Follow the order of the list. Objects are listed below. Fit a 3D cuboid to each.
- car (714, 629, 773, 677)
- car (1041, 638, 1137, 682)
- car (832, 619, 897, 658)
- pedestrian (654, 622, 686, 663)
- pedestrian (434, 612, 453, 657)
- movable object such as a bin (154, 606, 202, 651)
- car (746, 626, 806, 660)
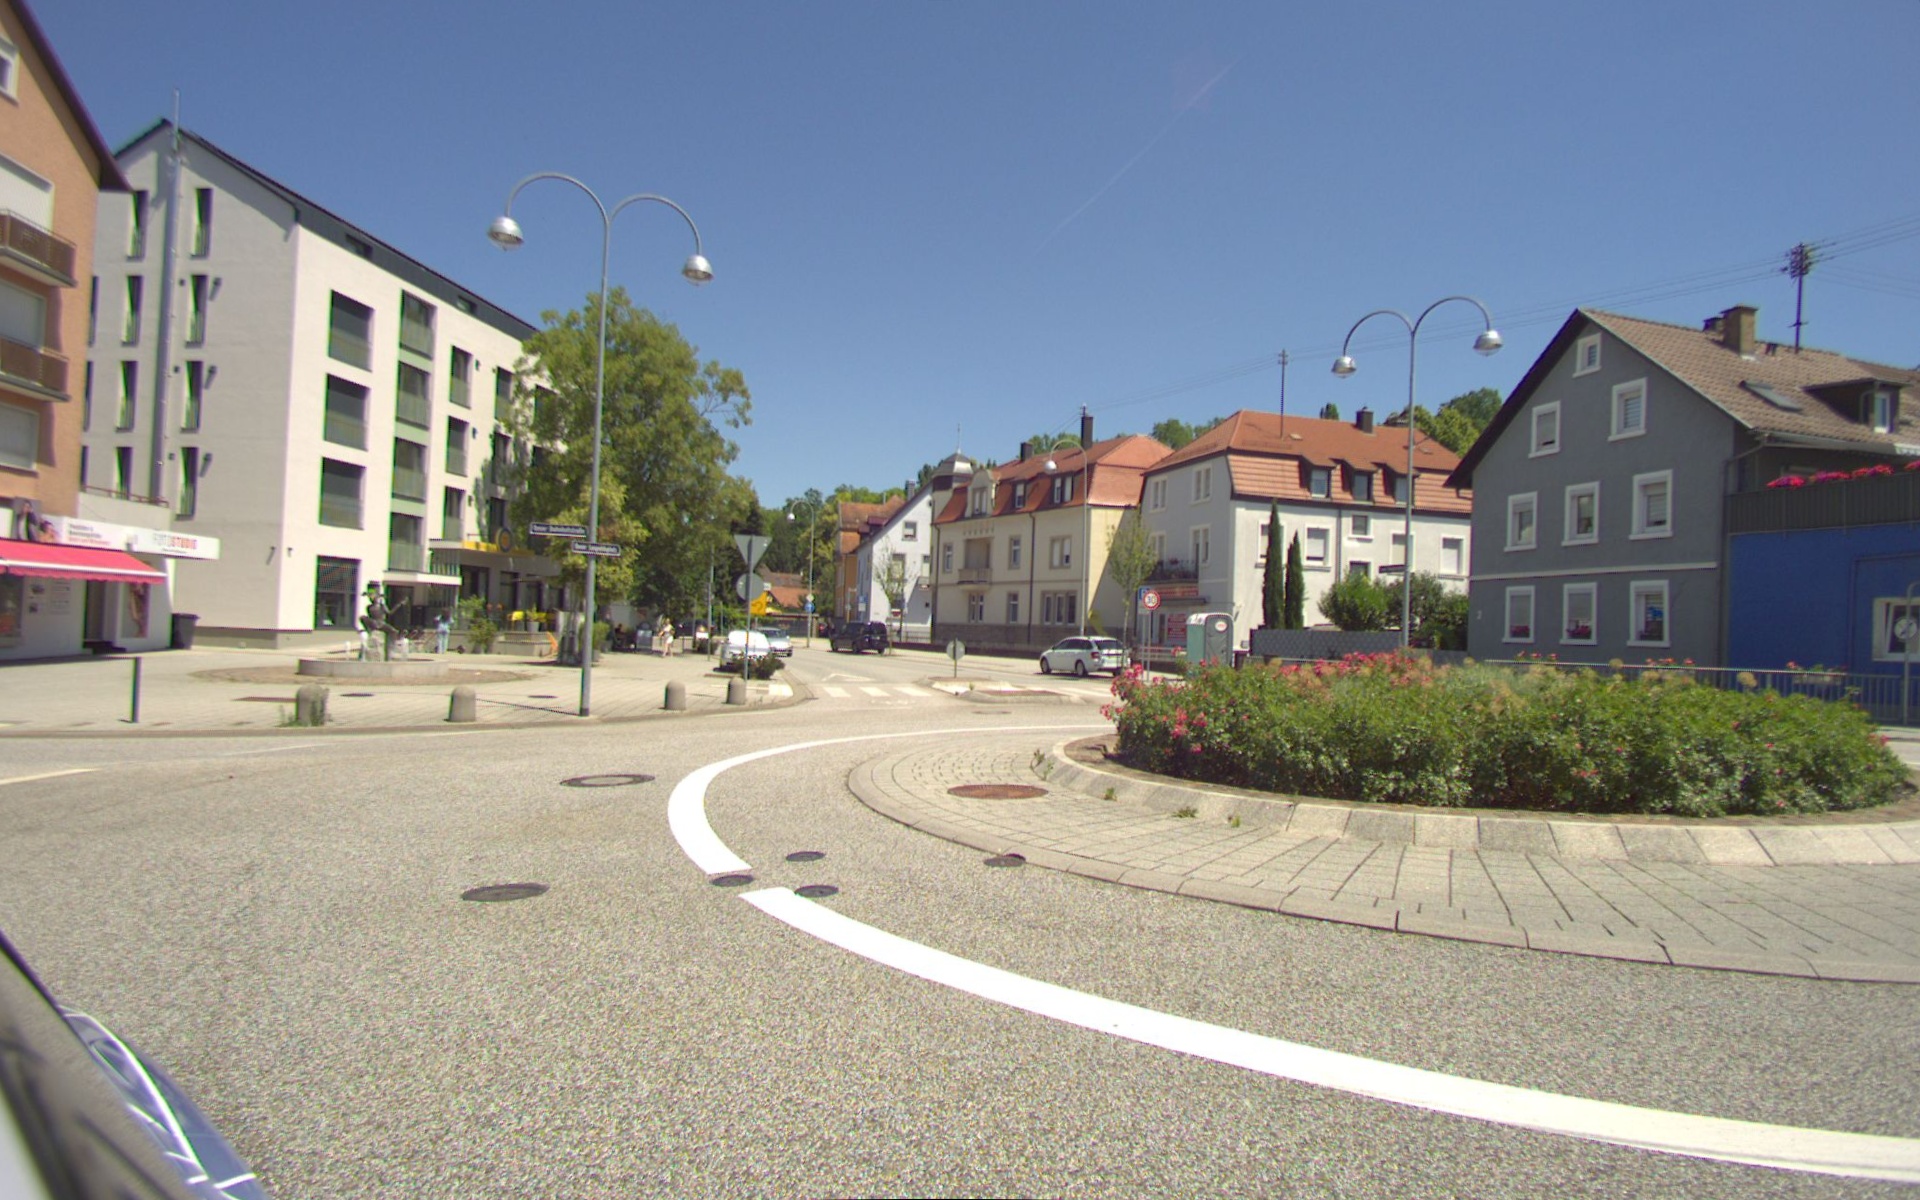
[{"bbox_3d":[-7.527,1.785,34.924,1.766,1.536,4.011,2,-2,-15],"label":"car"},{"bbox_3d":[4.677,2.166,37.175,1.581,1.402,4.092,-1,-1,-24],"label":"car"},{"bbox_3d":[-5.503,2.165,57.697,1.966,2.029,4.011,2,0,-33],"label":"car"},{"bbox_3d":[-11.981,1.736,41.872,0.945,1.661,0.812,0,-2,24],"label":"pedestrian"},{"bbox_3d":[-18.633,1.243,36.529,0.443,1.631,0.452,2,-2,-10],"label":"pedestrian"},{"bbox_3d":[-22.881,0.833,29.638,0.735,1.262,0.838,1,-2,-6],"label":"movable object such as a bin"},{"bbox_3d":[-9.783,2.230,53.540,1.965,1.668,4.217,2,-2,-27],"label":"car"}]
